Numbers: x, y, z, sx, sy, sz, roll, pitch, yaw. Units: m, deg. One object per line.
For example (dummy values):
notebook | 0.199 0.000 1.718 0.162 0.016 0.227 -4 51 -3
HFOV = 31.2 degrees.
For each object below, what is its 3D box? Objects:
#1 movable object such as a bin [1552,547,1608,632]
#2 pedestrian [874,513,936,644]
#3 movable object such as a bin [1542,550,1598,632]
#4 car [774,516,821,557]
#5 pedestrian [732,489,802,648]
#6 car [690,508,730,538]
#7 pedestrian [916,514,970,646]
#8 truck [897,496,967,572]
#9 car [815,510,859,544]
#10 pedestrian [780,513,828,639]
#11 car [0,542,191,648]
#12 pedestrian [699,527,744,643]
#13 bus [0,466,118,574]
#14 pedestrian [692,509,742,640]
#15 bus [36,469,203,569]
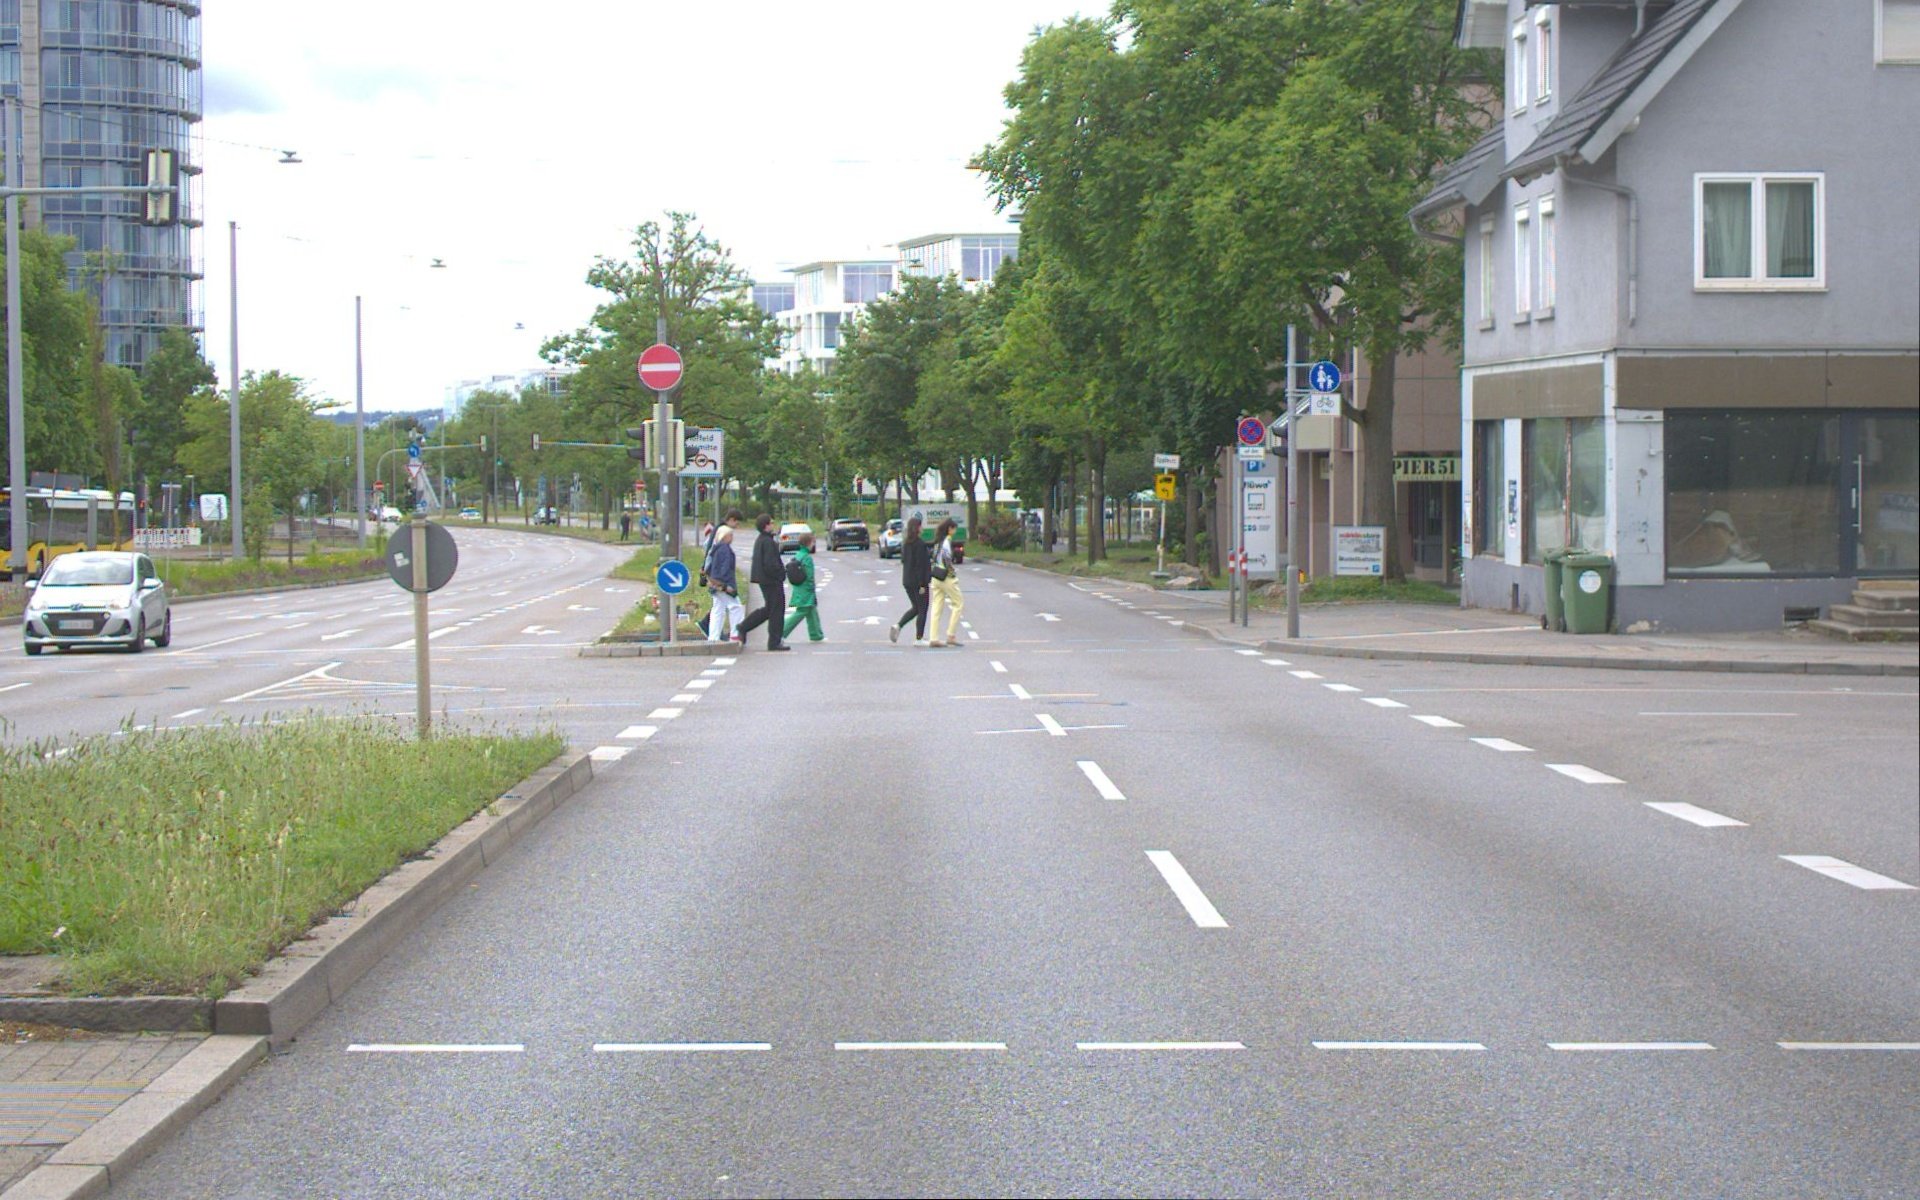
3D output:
movable object such as a bin | 7.918 -0.139 43.925 0.604 1.056 0.589 1 1 1
pedestrian | -0.733 -0.288 45.657 0.745 1.710 0.583 -1 1 -7
movable object such as a bin | 7.889 -0.115 44.471 0.616 1.039 0.589 1 1 1
car | -7.396 -2.878 156.429 1.993 1.824 4.000 1 1 -1
pedestrian | -2.470 -0.409 43.940 0.829 2.007 0.546 -1 1 -7
car | -12.793 -3.942 176.117 1.993 1.514 4.001 -1 1 -4
pedestrian | -0.225 -0.265 45.163 0.653 1.710 0.452 -1 1 -7
truck | -1.015 -2.465 126.502 2.470 2.602 6.548 1 2 0
car | -5.741 -3.402 160.779 1.993 1.546 4.000 1 1 -1
pedestrian | -2.131 -0.333 46.957 0.583 1.710 0.546 -1 1 -7
car | -12.786 -0.107 50.944 1.993 1.481 4.000 -1 1 -2
pedestrian | -3.103 -0.195 44.715 0.543 1.491 0.487 -1 1 -7
bus | -30.995 -2.618 114.084 2.832 3.419 10.732 -1 1 3
pedestrian | -3.221 -0.337 45.482 0.612 1.710 0.546 -1 1 -7
bus | -30.383 -2.912 124.822 2.832 3.419 10.732 -1 1 3
